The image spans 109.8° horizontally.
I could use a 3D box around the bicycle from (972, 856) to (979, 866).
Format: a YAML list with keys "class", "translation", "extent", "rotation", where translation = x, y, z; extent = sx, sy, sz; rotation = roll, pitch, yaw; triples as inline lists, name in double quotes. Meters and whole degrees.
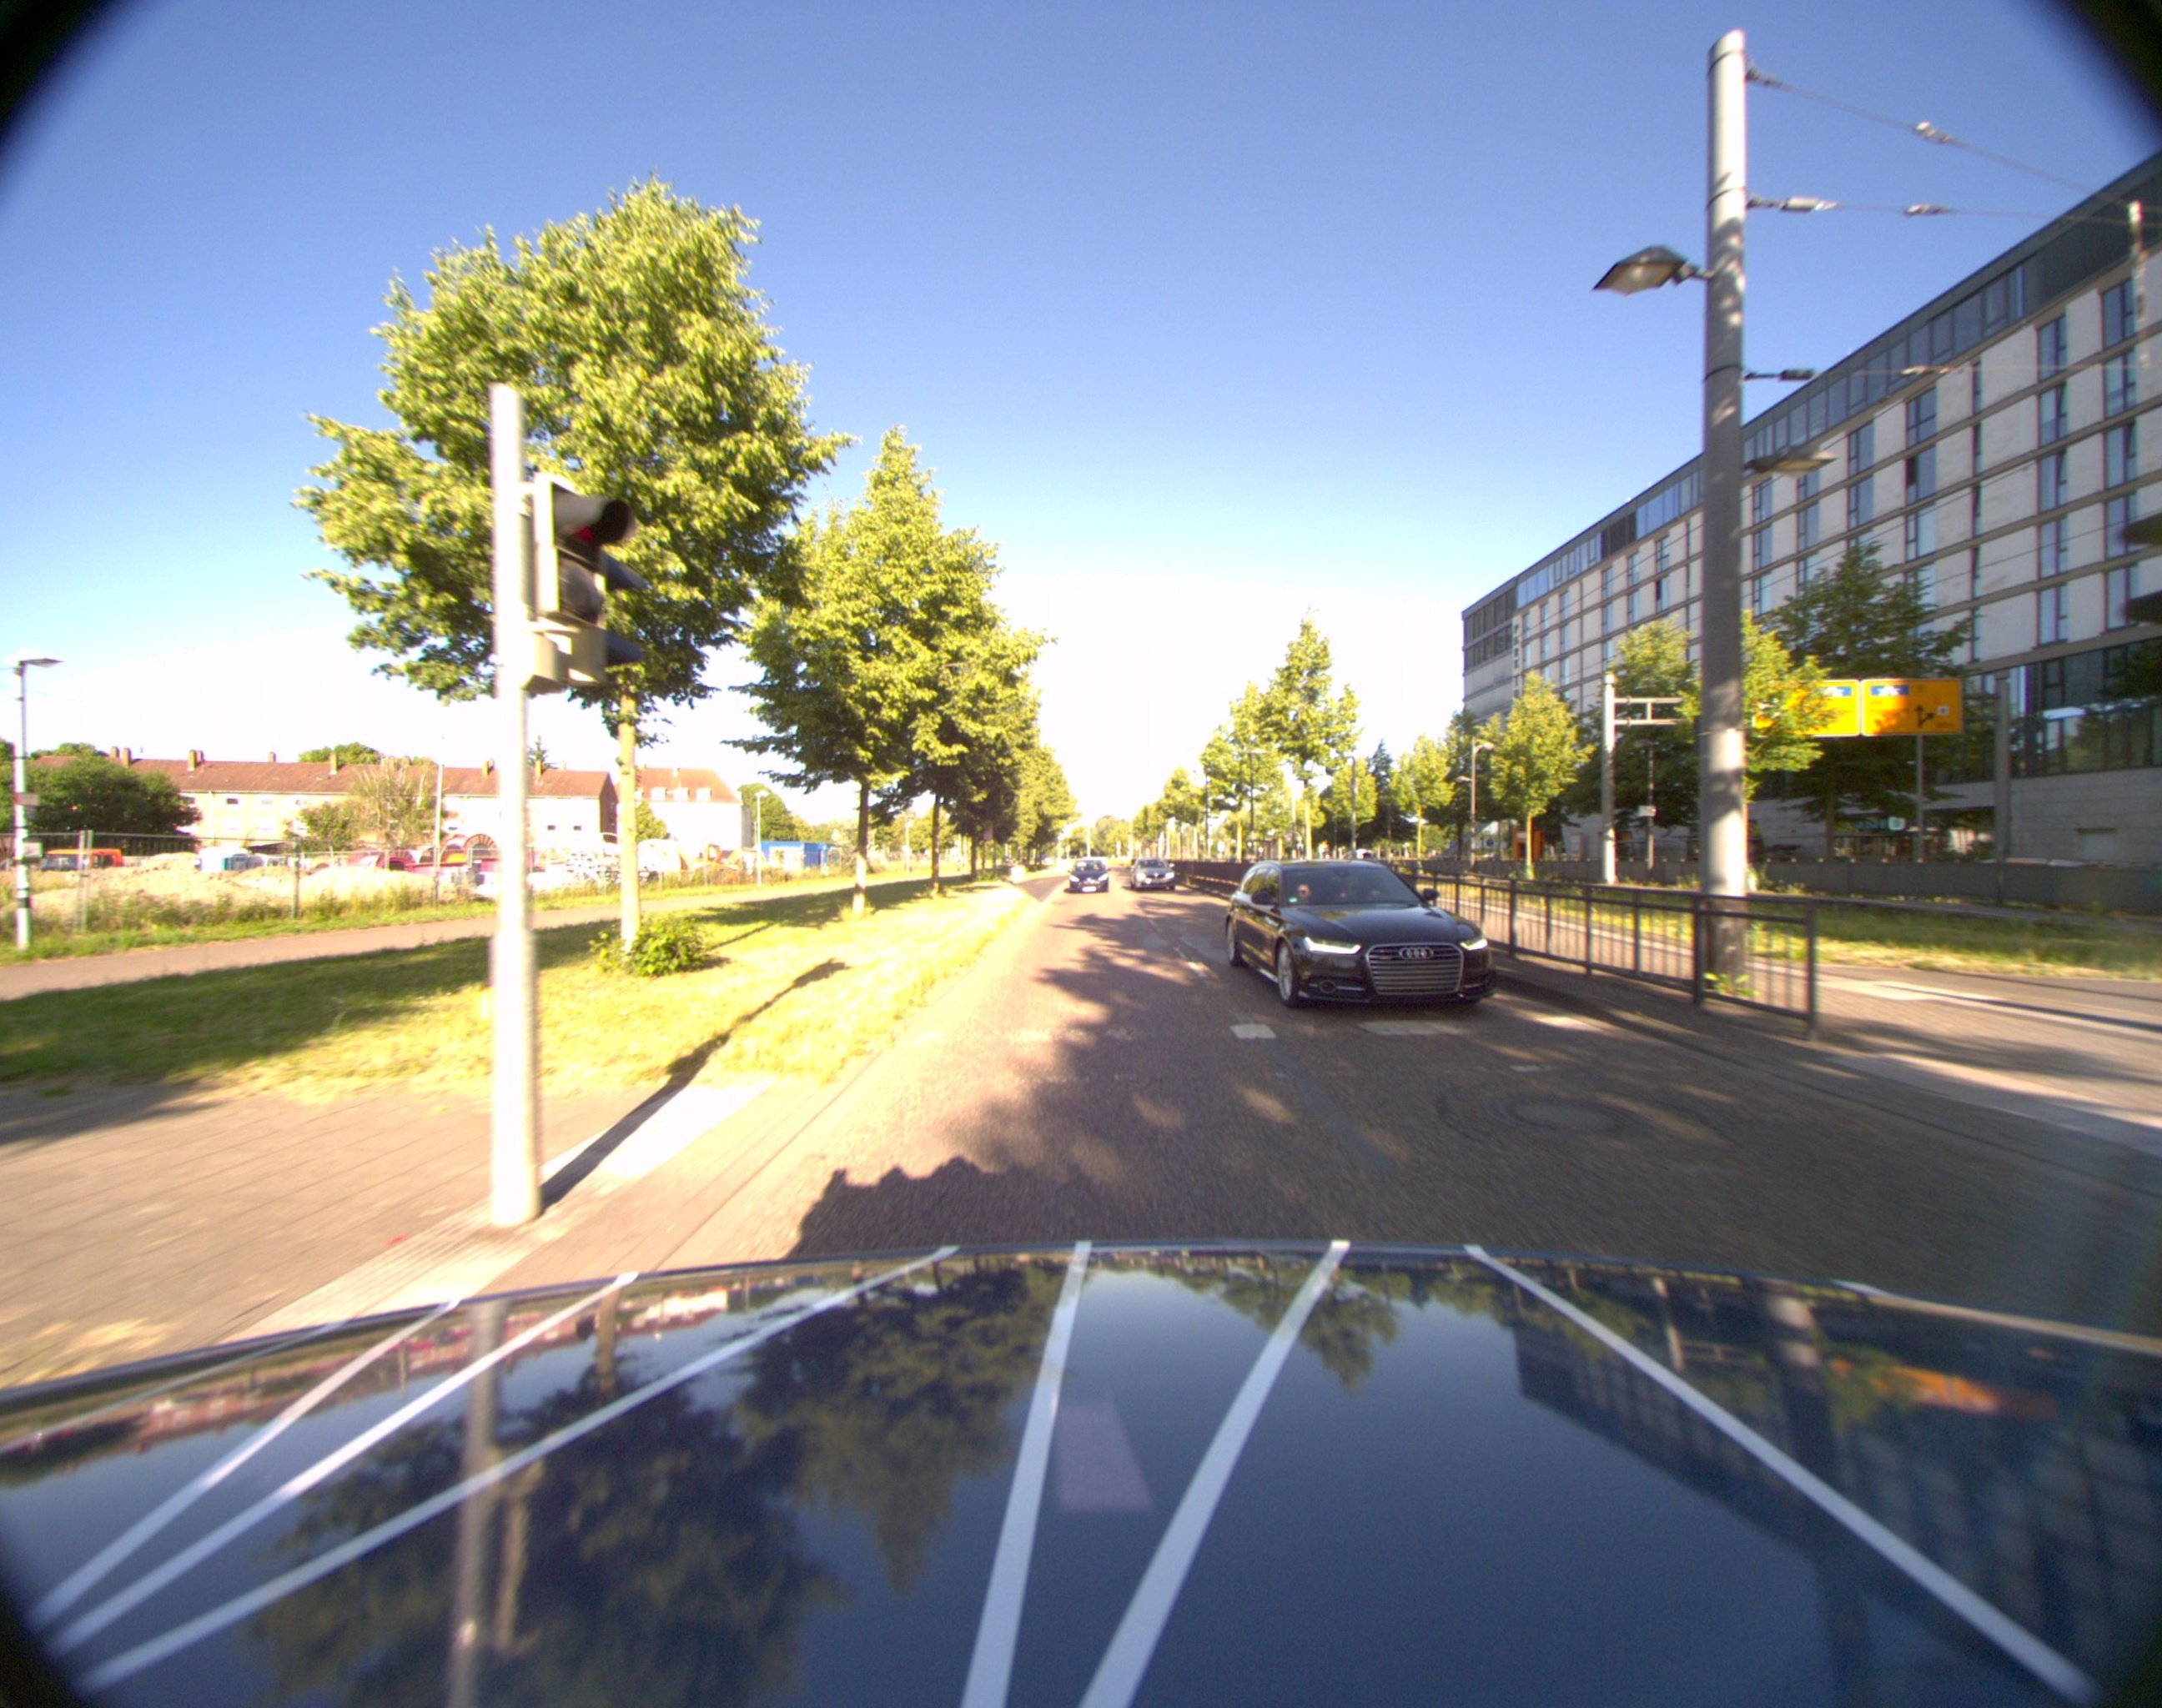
- class: "bicycle"
  translation: [-11.675, 0.759, 84.329]
  extent: [0.507, 1.145, 1.605]
  rotation: [1, 0, 1]

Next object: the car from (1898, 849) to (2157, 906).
- class: "car"
  translation: [25.655, 0.585, 20.896]
  extent: [1.764, 1.395, 4.333]
  rotation: [0, 0, 1]

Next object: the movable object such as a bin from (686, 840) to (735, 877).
- class: "movable object such as a bin"
  translation: [-21.096, 0.221, 43.298]
  extent: [1.799, 2.002, 1.789]
  rotation: [-1, 2, 2]

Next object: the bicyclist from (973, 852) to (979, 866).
- class: "bicyclist"
  translation: [-11.675, 0.532, 84.335]
  extent: [0.504, 1.464, 0.834]
  rotation: [-1, 1, 1]

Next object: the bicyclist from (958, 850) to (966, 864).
- class: "bicyclist"
  translation: [-13.255, 0.283, 84.592]
  extent: [0.654, 1.544, 0.794]
  rotation: [-1, 1, 2]

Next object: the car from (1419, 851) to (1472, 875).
- class: "car"
  translation: [23.818, 0.592, 49.772]
  extent: [1.683, 1.512, 3.700]
  rotation: [0, 0, 1]

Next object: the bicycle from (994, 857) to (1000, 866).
- class: "bicycle"
  translation: [-10.677, 0.962, 96.602]
  extent: [0.479, 1.076, 1.644]
  rotation: [-1, 2, 3]

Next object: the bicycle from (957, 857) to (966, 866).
- class: "bicycle"
  translation: [-13.264, 0.856, 84.601]
  extent: [0.657, 1.006, 1.820]
  rotation: [0, 0, 1]

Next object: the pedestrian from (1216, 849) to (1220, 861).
- class: "pedestrian"
  translation: [18.641, 0.168, 103.210]
  extent: [0.418, 1.569, 0.811]
  rotation: [-1, 2, -2]

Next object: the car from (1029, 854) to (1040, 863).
- class: "car"
  translation: [-8.424, 0.847, 136.833]
  extent: [1.701, 1.555, 3.676]
  rotation: [0, 0, 1]

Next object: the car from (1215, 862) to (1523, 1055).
- class: "car"
  translation: [2.827, 0.905, 8.690]
  extent: [1.788, 1.518, 4.601]
  rotation: [-2, 0, 1]

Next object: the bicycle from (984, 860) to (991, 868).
- class: "bicycle"
  translation: [-11.910, 1.315, 96.569]
  extent: [0.592, 0.955, 1.900]
  rotation: [-1, 2, 3]

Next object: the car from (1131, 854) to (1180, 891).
- class: "car"
  translation: [3.385, 0.810, 35.186]
  extent: [1.849, 1.560, 4.528]
  rotation: [-1, 0, 1]

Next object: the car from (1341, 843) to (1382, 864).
- class: "car"
  translation: [24.156, -0.062, 65.586]
  extent: [1.998, 1.739, 4.227]
  rotation: [0, 0, 1]

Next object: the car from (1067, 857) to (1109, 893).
- class: "car"
  translation: [0.339, 0.910, 34.706]
  extent: [1.763, 1.506, 3.947]
  rotation: [-1, 1, 1]

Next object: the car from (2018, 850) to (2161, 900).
- class: "car"
  translation: [31.845, 0.585, 22.784]
  extent: [1.963, 1.412, 4.545]
  rotation: [-1, 0, 1]

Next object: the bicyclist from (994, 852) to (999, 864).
- class: "bicyclist"
  translation: [-10.689, 0.531, 96.543]
  extent: [0.471, 1.478, 0.915]
  rotation: [-1, 2, 3]

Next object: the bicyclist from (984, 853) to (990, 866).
- class: "bicyclist"
  translation: [-11.921, 0.730, 96.539]
  extent: [0.592, 1.578, 0.965]
  rotation: [-1, 2, 3]
